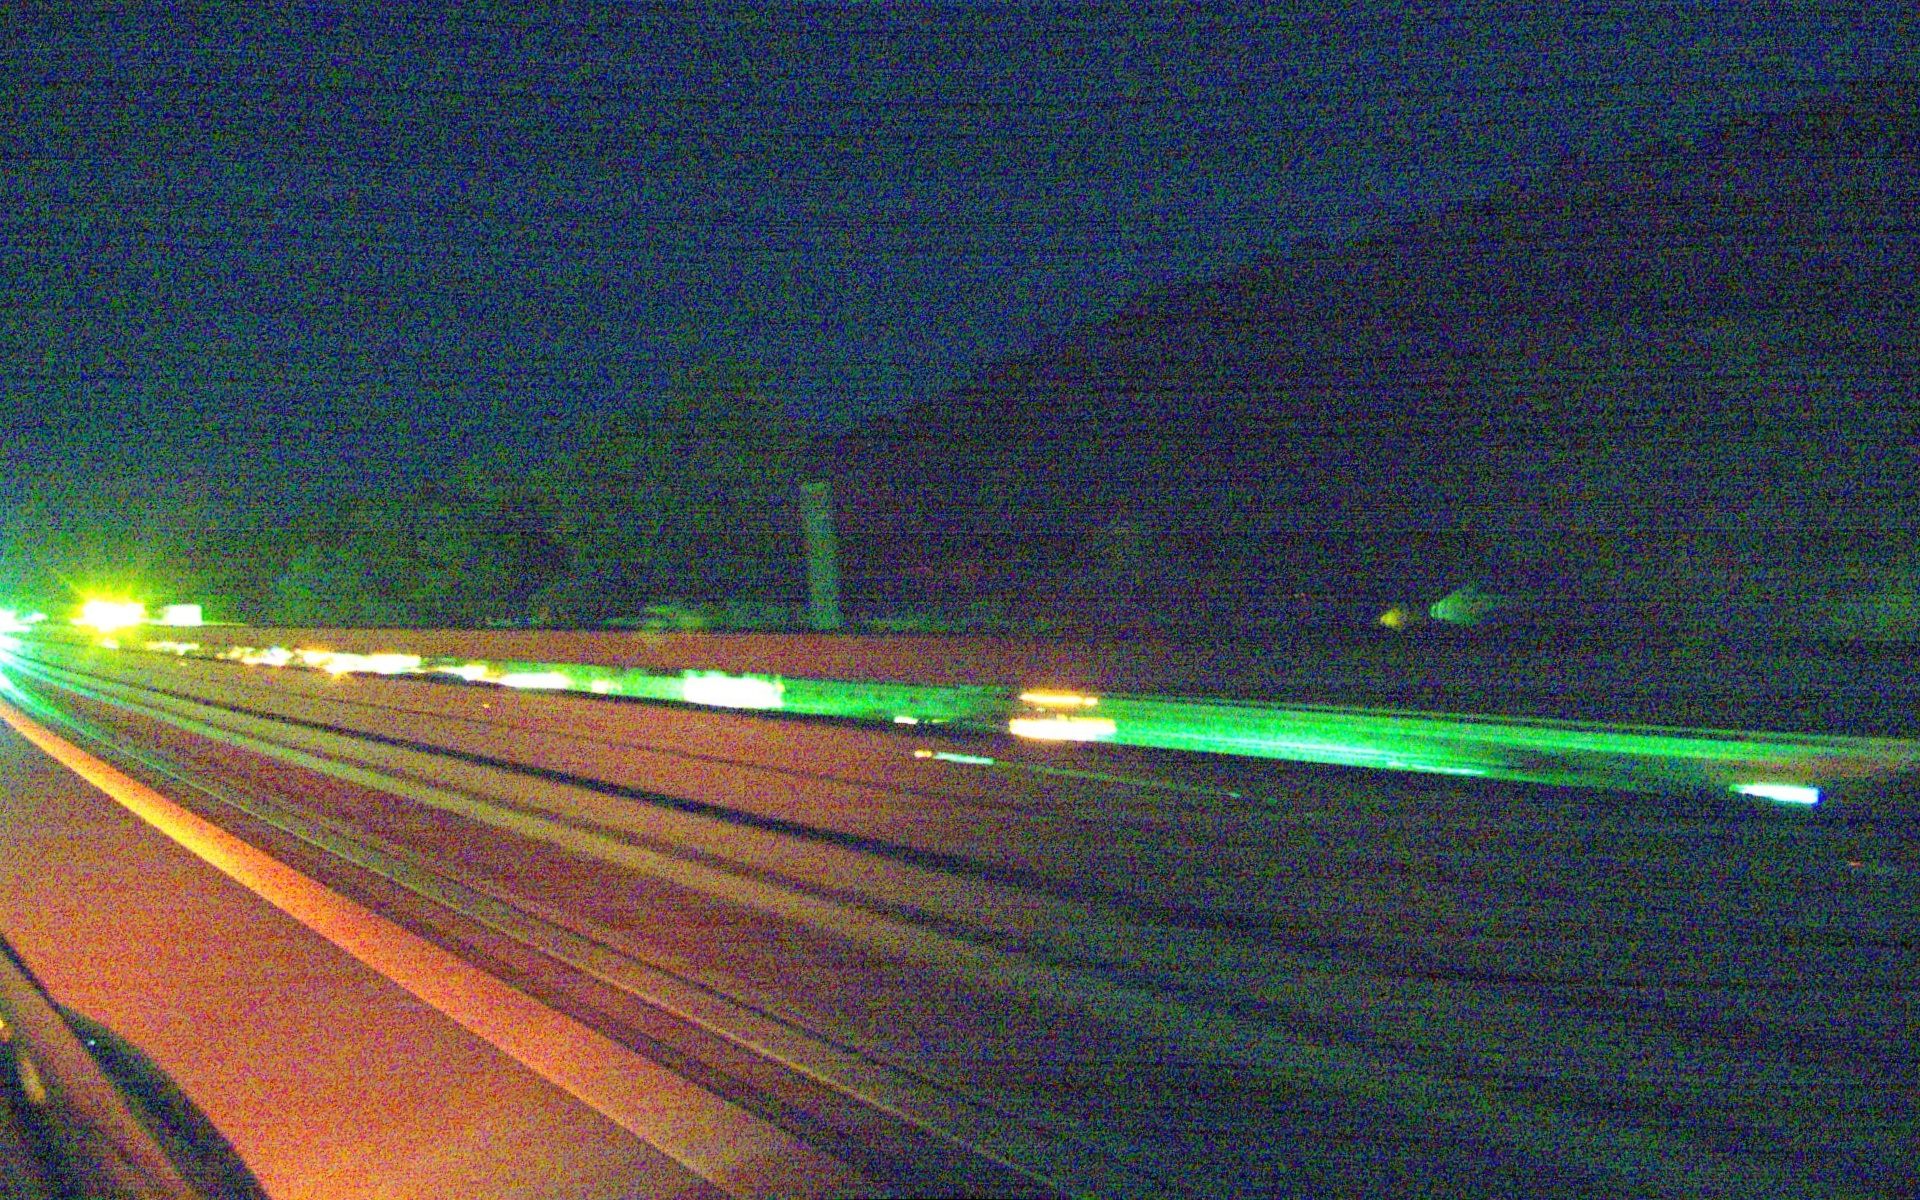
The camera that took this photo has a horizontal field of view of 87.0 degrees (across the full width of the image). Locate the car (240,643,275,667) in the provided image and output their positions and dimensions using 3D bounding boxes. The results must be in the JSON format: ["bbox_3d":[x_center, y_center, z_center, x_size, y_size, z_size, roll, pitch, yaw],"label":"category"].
[{"bbox_3d":[-49.902,3.897,71.870,1.676,1.408,4.008,11,-9,-37],"label":"car"}]

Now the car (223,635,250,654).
[{"bbox_3d":[-58.312,3.544,81.579,1.684,1.387,4.010,0,-1,-36],"label":"car"}]

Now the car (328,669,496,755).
[{"bbox_3d":[-11.708,2.286,21.518,4.278,1.480,1.797,-2,-2,42],"label":"car"}]

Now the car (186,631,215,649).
[{"bbox_3d":[-69.728,3.615,92.879,1.968,1.502,4.411,-1,0,-39],"label":"car"}]

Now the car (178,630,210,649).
[{"bbox_3d":[-55.649,2.822,73.506,1.697,1.313,4.008,1,-2,-38],"label":"car"}]

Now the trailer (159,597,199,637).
[{"bbox_3d":[-92.268,1.908,119.407,3.109,4.347,14.837,-2,1,-39],"label":"trailer"}]

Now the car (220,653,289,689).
[{"bbox_3d":[-34.499,3.435,49.460,4.712,1.464,1.882,-1,-1,44],"label":"car"}]

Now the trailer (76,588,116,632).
[{"bbox_3d":[-78.237,0.882,91.573,2.504,3.741,10.141,-2,1,-41],"label":"trailer"}]

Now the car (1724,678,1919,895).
[{"bbox_3d":[11.154,1.948,10.415,5.110,2.070,2.117,-2,-3,41],"label":"car"}]

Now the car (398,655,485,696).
[{"bbox_3d":[-20.697,2.985,40.354,4.000,1.469,1.803,-1,-3,43],"label":"car"}]

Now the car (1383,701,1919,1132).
[{"bbox_3d":[5.164,1.547,5.217,5.110,1.719,2.117,-2,-3,41],"label":"car"}]

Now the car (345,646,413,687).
[{"bbox_3d":[-27.461,3.119,47.803,4.001,1.729,1.733,-1,-1,44],"label":"car"}]

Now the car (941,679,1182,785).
[{"bbox_3d":[1.810,2.370,19.013,4.278,1.569,1.797,-2,-2,42],"label":"car"}]

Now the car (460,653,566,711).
[{"bbox_3d":[-15.189,2.719,34.312,4.001,1.729,1.929,-2,-2,44],"label":"car"}]

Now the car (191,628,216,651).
[{"bbox_3d":[-73.094,3.803,97.768,1.864,2.029,4.009,-1,-1,-36],"label":"car"}]

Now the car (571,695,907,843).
[{"bbox_3d":[-3.321,2.250,14.573,5.110,1.462,2.117,-2,-3,41],"label":"car"}]

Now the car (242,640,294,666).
[{"bbox_3d":[-45.266,3.432,66.150,4.712,1.464,1.882,-1,-1,44],"label":"car"}]

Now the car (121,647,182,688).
[{"bbox_3d":[-39.719,3.287,49.704,4.000,1.872,1.714,-1,-3,43],"label":"car"}]

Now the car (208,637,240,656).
[{"bbox_3d":[-64.218,4.021,88.281,1.968,1.560,4.146,-1,-1,-39],"label":"car"}]

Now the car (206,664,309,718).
[{"bbox_3d":[-22.758,2.886,32.713,4.278,1.480,1.797,-2,-2,42],"label":"car"}]

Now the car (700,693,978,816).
[{"bbox_3d":[-2.305,2.637,18.275,5.110,1.635,2.117,-2,-3,41],"label":"car"}]

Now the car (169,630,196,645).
[{"bbox_3d":[-84.043,4.050,109.367,1.969,1.502,4.409,-1,-1,-42],"label":"car"}]

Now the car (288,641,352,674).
[{"bbox_3d":[-35.893,3.192,56.714,2.051,1.647,4.924,0,-1,-45],"label":"car"}]

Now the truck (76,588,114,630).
[{"bbox_3d":[-82.653,0.828,96.714,2.571,3.771,6.766,-2,1,-41],"label":"truck"}]

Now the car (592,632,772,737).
[{"bbox_3d":[-7.597,2.141,27.260,5.696,2.460,2.005,-1,-1,43],"label":"car"}]

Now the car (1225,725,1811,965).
[{"bbox_3d":[5.656,2.297,10.734,5.110,1.501,2.117,-2,-3,41],"label":"car"}]

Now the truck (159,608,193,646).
[{"bbox_3d":[-96.772,3.261,124.871,3.048,4.347,6.294,-2,1,-40],"label":"truck"}]

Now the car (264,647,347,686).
[{"bbox_3d":[-27.218,2.715,42.054,3.998,1.469,1.804,-1,-3,41],"label":"car"}]
